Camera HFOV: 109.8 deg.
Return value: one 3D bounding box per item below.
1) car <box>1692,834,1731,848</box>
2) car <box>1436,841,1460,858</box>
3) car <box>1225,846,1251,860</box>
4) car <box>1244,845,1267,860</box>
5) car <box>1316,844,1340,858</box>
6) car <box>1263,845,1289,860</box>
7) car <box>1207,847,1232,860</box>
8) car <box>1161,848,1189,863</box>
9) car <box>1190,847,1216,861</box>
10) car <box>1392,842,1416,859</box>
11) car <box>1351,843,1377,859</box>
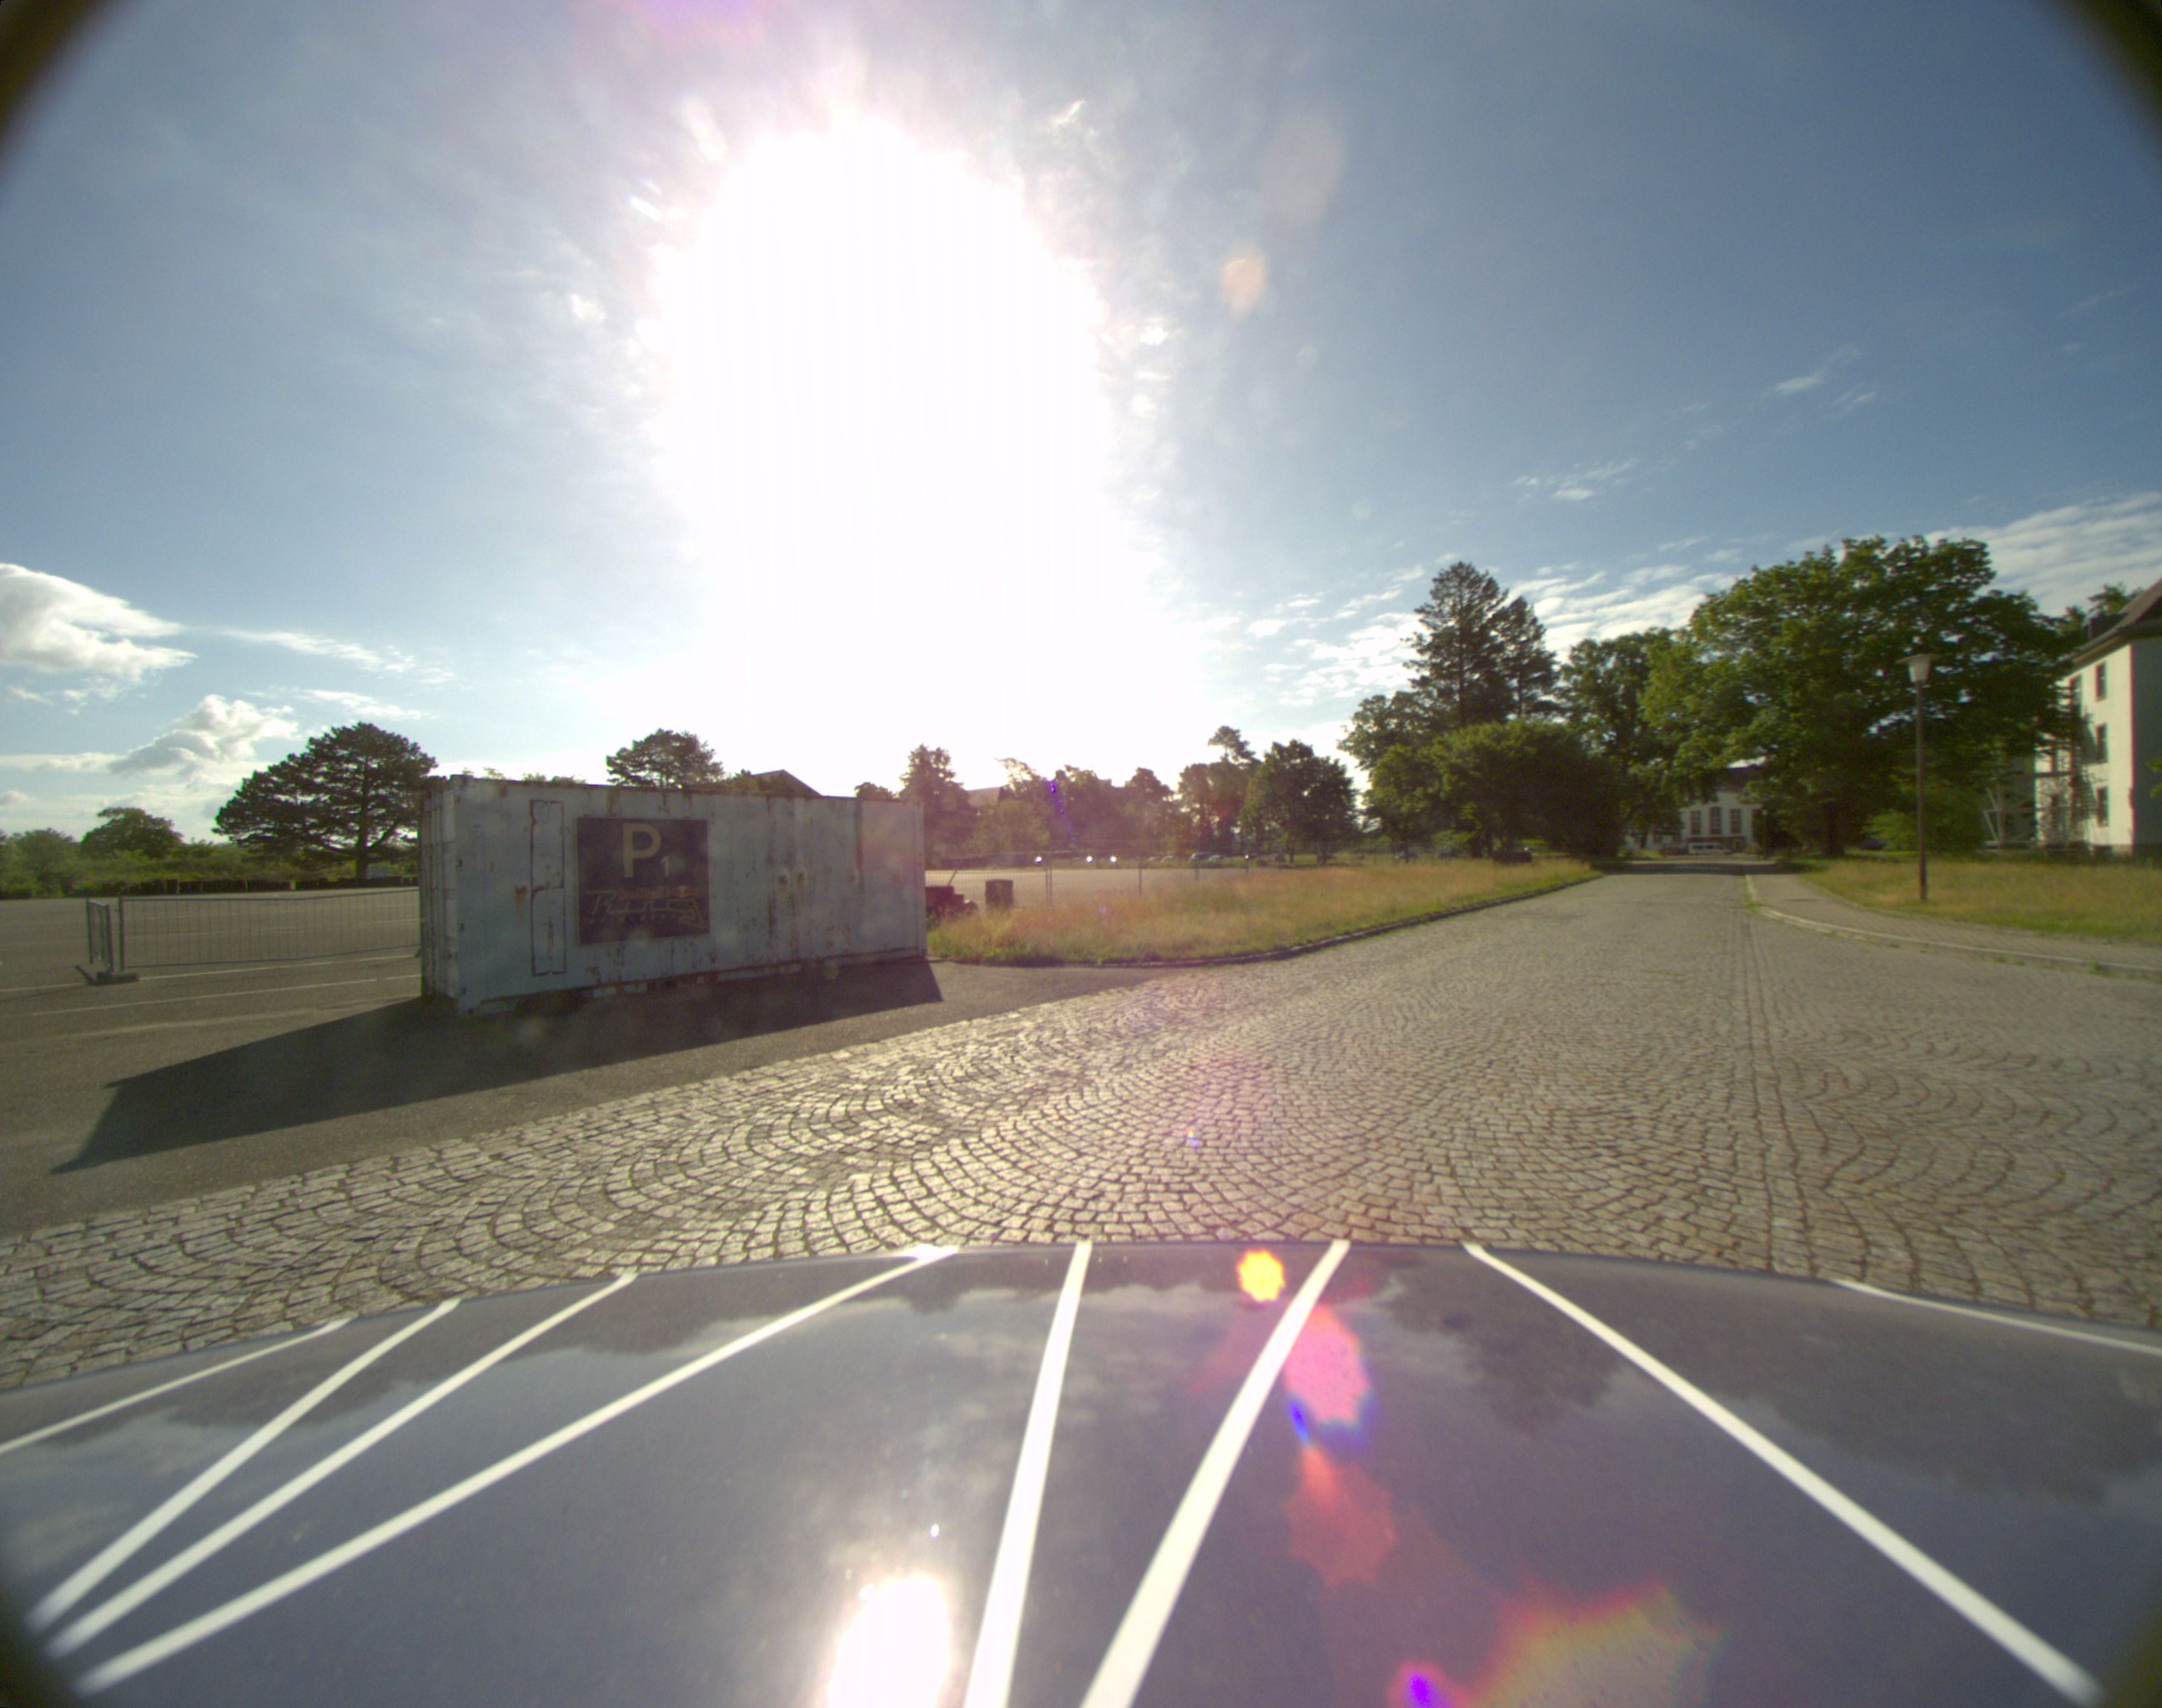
[{"bbox_3d":[102.009,-2.125,122.900,4.860,2.083,2.004,-1,1,41],"label":"car"},{"bbox_3d":[43.762,-0.534,90.546,1.994,2.002,4.008,-1,0,34],"label":"car"},{"bbox_3d":[22.921,-0.183,110.978,1.994,2.002,4.008,-1,1,41],"label":"car"},{"bbox_3d":[24.695,-0.169,107.326,1.994,2.002,4.008,-1,1,32],"label":"car"},{"bbox_3d":[32.722,-0.387,100.710,1.994,1.805,4.008,-1,1,34],"label":"car"},{"bbox_3d":[27.134,-0.235,105.642,1.994,2.002,4.008,-1,1,39],"label":"car"},{"bbox_3d":[20.360,-0.086,111.679,1.994,1.936,4.008,-1,1,38],"label":"car"},{"bbox_3d":[14.419,0.190,116.695,4.007,2.001,1.995,-3,-2,-43],"label":"car"},{"bbox_3d":[18.155,0.032,112.876,1.994,2.002,4.008,-1,1,38],"label":"car"},{"bbox_3d":[40.002,-0.490,94.099,1.994,2.002,4.008,-1,0,34],"label":"car"},{"bbox_3d":[36.482,-0.372,97.977,1.994,2.002,4.008,-1,1,38],"label":"car"}]
